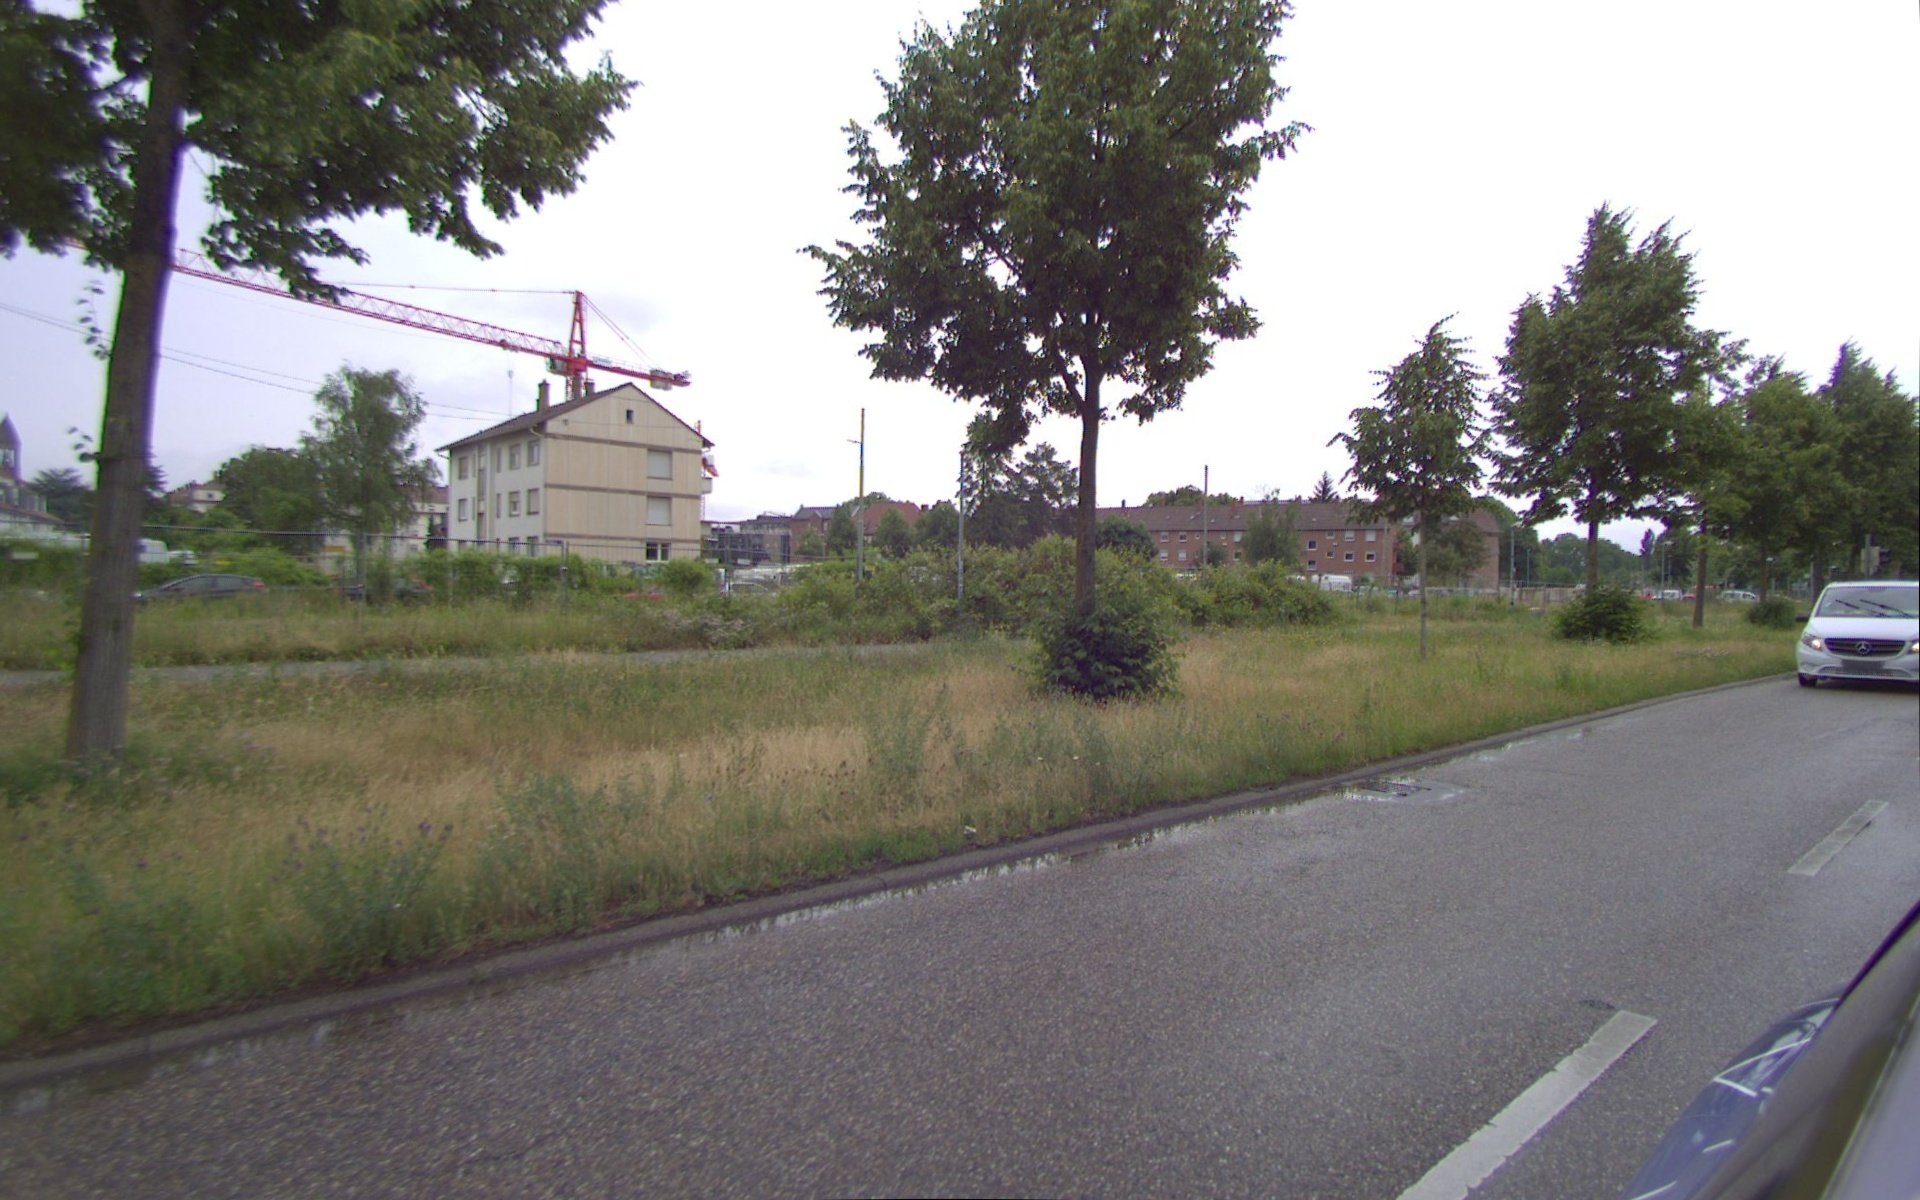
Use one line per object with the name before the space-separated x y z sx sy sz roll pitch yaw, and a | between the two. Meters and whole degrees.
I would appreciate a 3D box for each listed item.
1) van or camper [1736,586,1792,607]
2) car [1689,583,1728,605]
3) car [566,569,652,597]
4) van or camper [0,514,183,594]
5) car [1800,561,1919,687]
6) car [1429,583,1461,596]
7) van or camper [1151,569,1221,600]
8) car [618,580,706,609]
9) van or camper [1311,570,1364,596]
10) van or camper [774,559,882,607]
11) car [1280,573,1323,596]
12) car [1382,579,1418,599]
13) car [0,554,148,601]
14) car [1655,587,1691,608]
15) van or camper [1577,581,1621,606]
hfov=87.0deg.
van or camper | 82.356 -0.355 103.692 4.321 2.039 1.832 1 0 44
car | 83.371 -0.641 112.748 3.919 2.339 2.003 0 0 -28
car | -18.579 -0.883 53.662 3.961 1.450 1.700 0 1 -40
van or camper | -36.056 -1.799 41.391 6.658 3.031 2.912 0 1 -41
car | 16.771 0.345 18.084 5.004 2.004 1.971 -1 1 -42
car | 53.058 -1.107 110.627 1.992 1.405 4.500 -1 0 41
van or camper | 19.344 -1.284 86.355 6.312 2.568 2.779 0 0 -44
car | -15.066 -0.295 51.301 3.961 1.369 1.700 0 1 -40
van or camper | 34.674 -1.529 92.840 6.046 2.337 2.204 0 -1 -44
van or camper | -7.845 -1.004 60.804 6.290 2.722 2.311 0 1 -43
car | 34.244 -1.520 101.378 4.682 2.248 2.273 0 1 -45
car | 51.527 -1.280 118.573 4.682 2.248 2.273 0 1 -45
car | -33.956 -0.824 37.447 2.464 1.664 5.602 1 1 31
car | 81.571 -0.303 115.800 3.922 2.339 2.001 0 0 -32
van or camper | 79.827 -0.752 126.427 5.400 3.073 2.349 0 -1 -30
